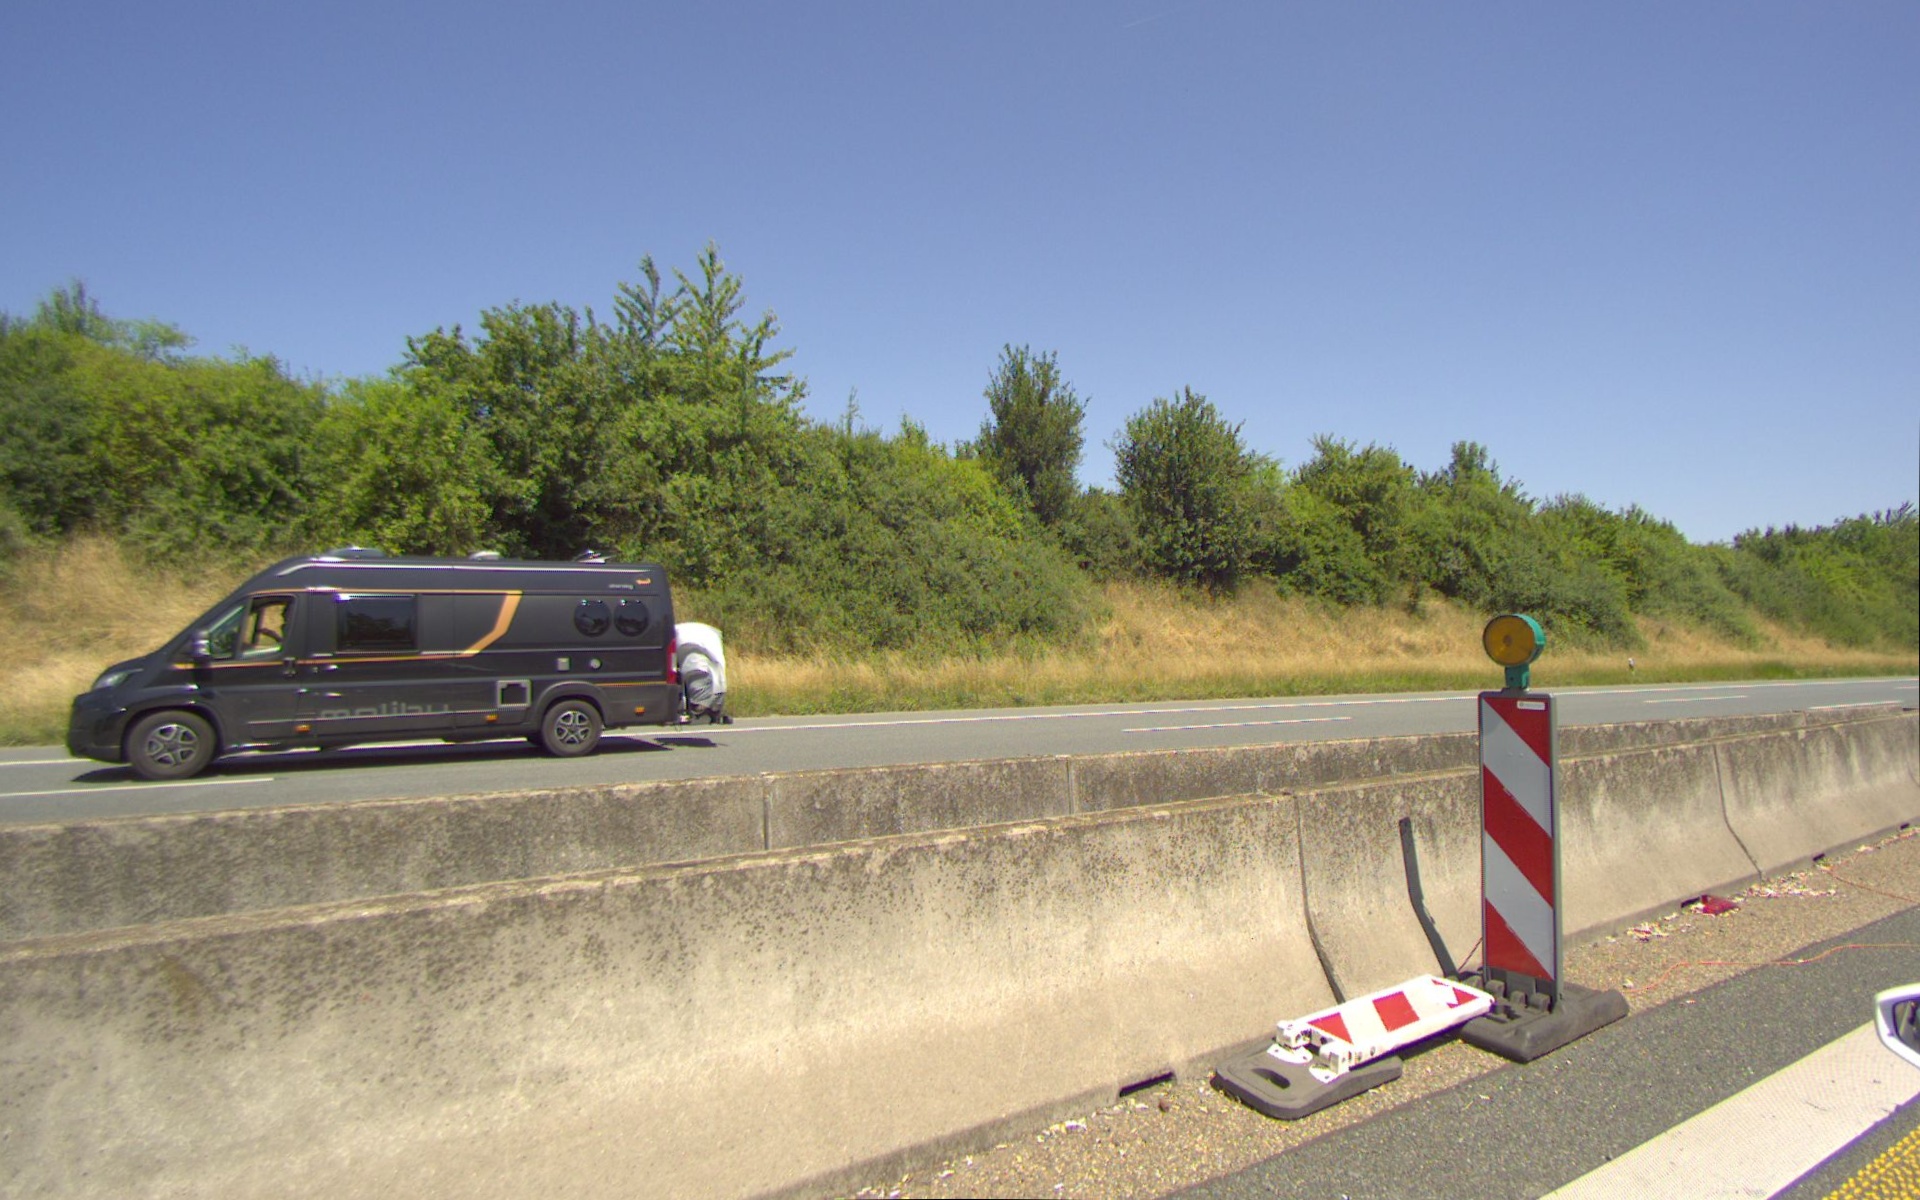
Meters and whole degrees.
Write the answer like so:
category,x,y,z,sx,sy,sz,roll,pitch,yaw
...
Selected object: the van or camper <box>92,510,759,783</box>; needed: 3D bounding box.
category,x,y,z,sx,sy,sz,roll,pitch,yaw
van or camper,-6.317,0.619,12.941,7.004,2.746,2.210,2,-4,-33
